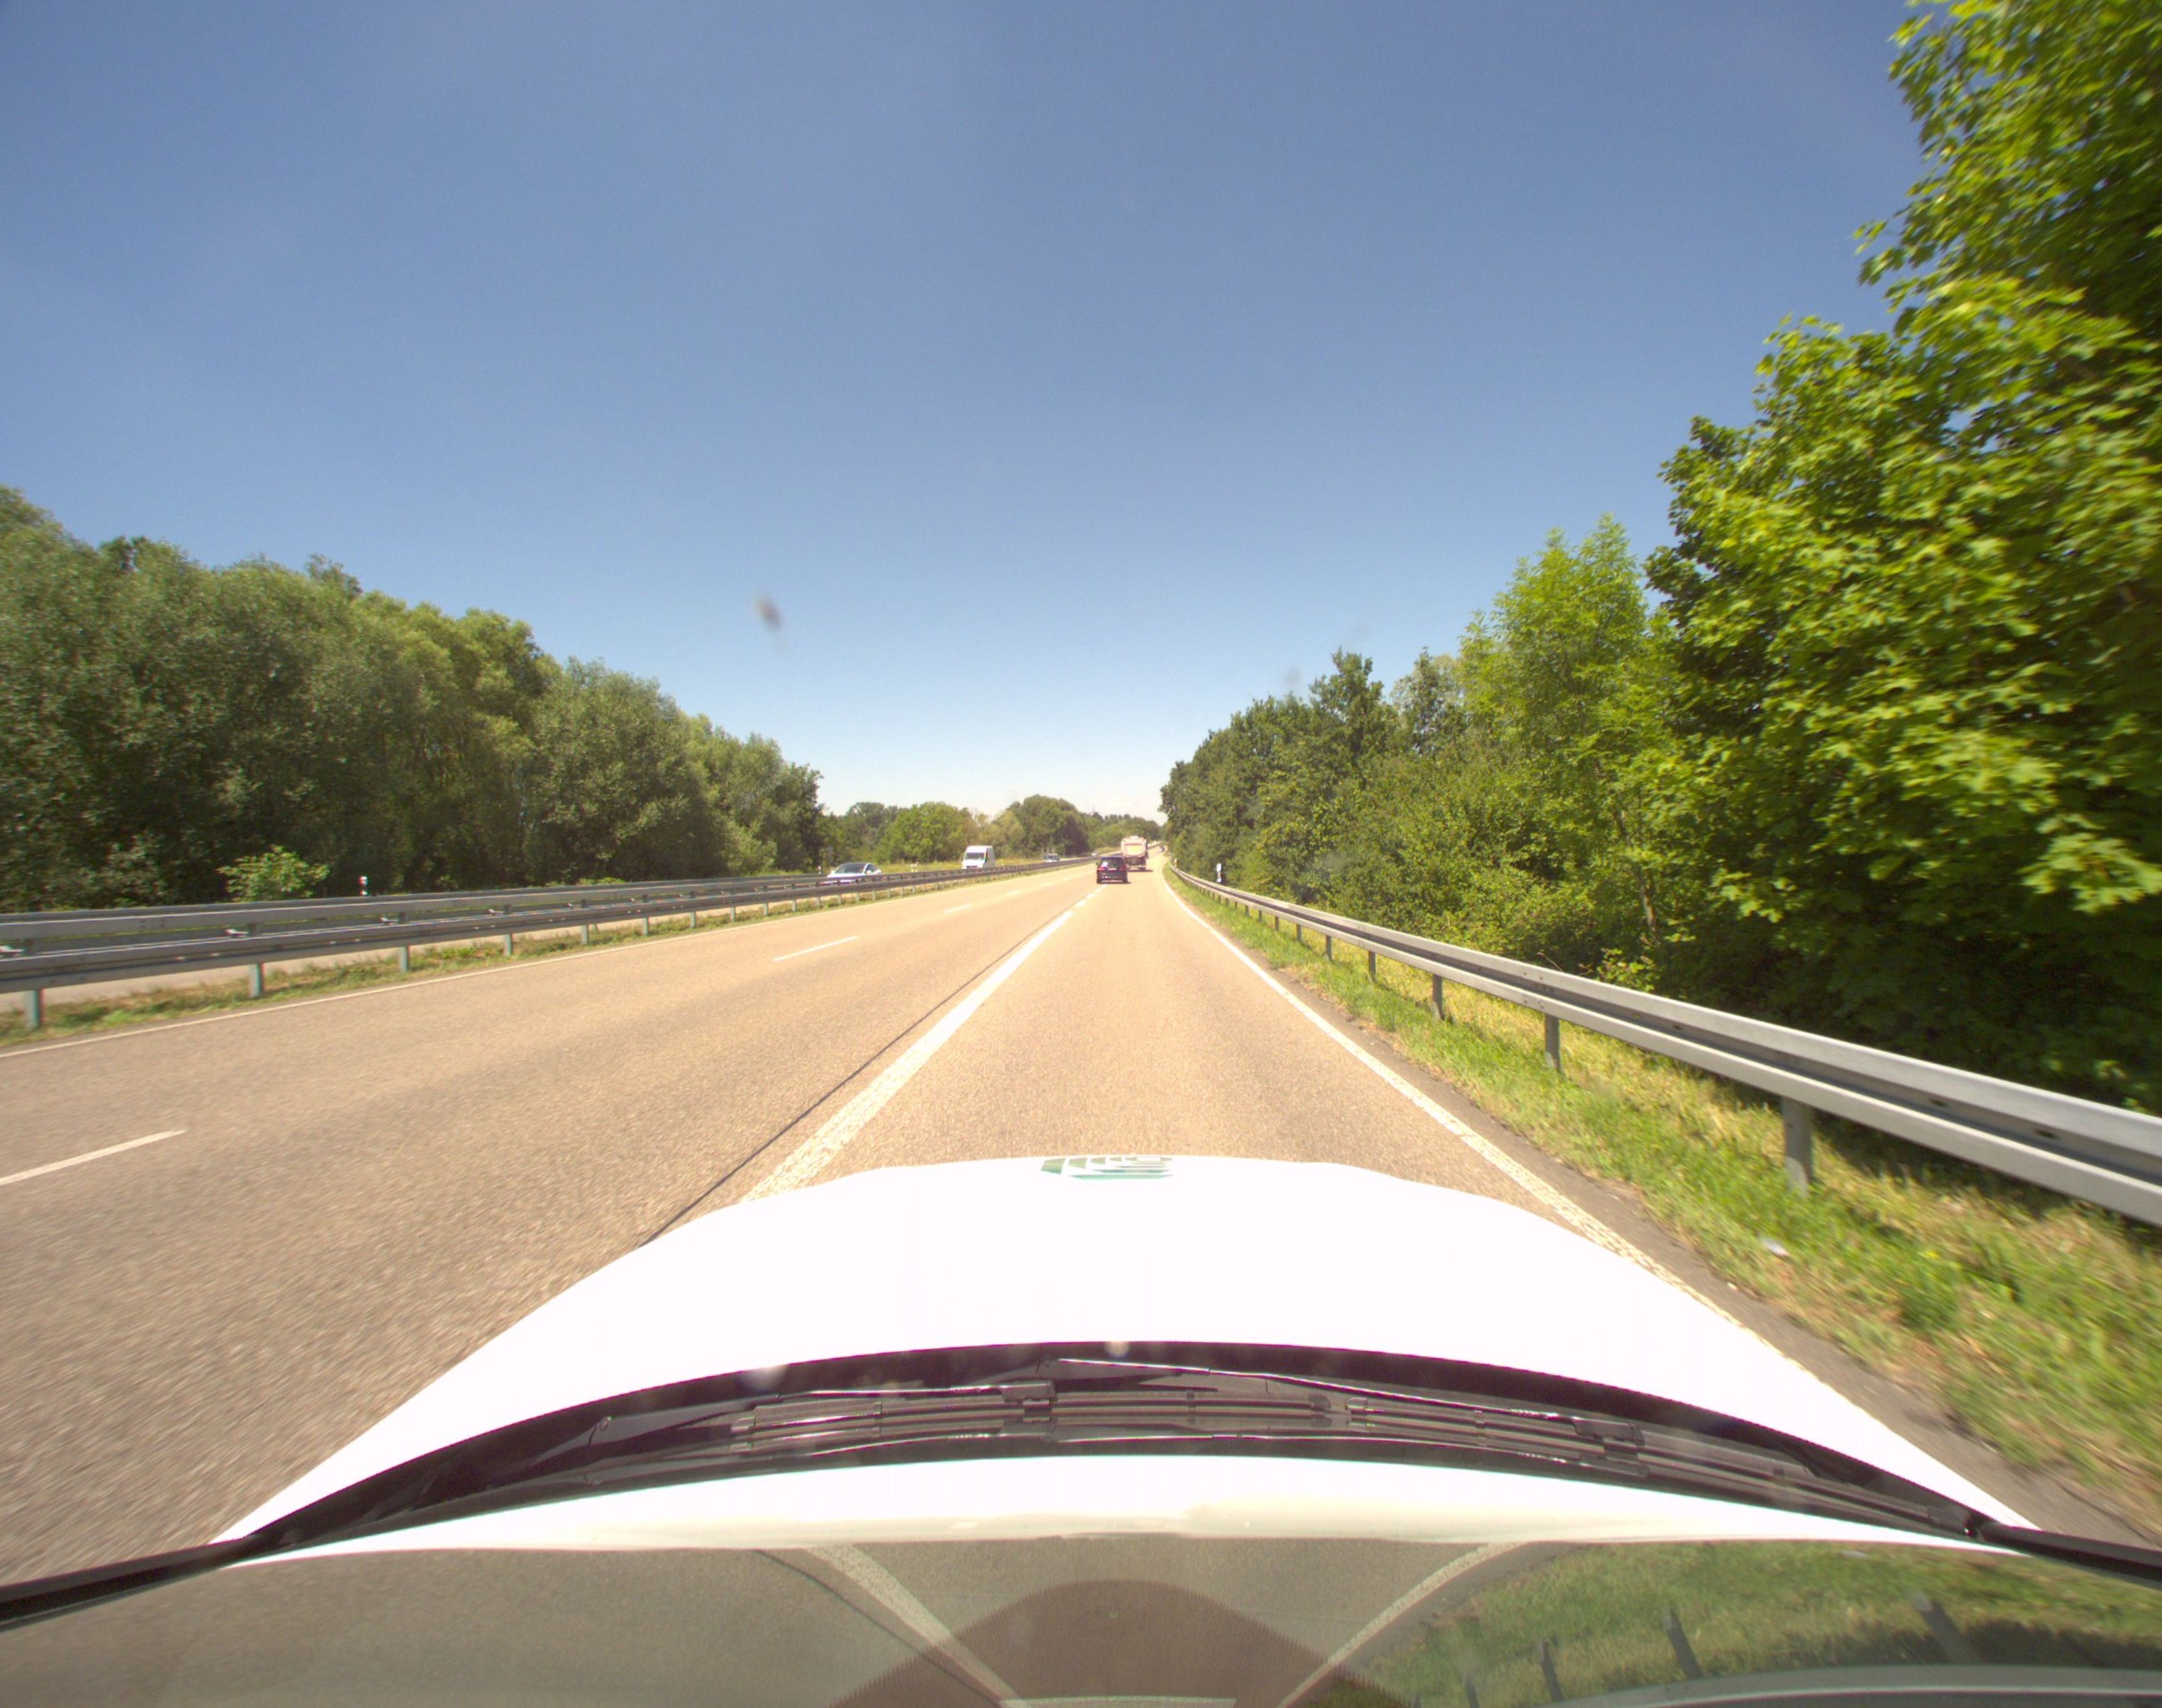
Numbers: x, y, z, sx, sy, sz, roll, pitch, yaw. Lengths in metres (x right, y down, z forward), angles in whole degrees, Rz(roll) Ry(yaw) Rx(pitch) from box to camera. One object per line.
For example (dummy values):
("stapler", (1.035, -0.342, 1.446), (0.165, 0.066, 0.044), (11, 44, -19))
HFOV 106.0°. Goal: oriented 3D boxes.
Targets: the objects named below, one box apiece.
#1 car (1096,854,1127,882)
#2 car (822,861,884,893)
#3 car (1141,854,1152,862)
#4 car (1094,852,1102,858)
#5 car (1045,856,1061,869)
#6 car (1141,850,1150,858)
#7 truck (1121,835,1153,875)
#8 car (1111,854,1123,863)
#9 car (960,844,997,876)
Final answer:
("car", (1.949, 0.883, 51.374), (1.849, 1.671, 4.004), (-1, 0, 4))
("car", (-11.477, 1.117, 41.196), (1.911, 1.489, 4.001), (0, 0, 1))
("car", (13.111, 0.798, 163.028), (1.848, 1.671, 4.007), (-1, 0, 7))
("car", (4.980, 0.185, 236.638), (1.715, 1.645, 4.952), (0, 0, 7))
("car", (-3.988, 1.213, 118.119), (1.855, 1.830, 4.665), (-1, 0, 4))
("car", (14.100, 0.058, 177.297), (1.848, 1.671, 4.007), (-1, 0, 7))
("truck", (6.134, 0.000, 87.752), (2.706, 3.929, 12.395), (-1, 1, 7))
("car", (6.802, 0.882, 154.426), (1.848, 1.671, 4.007), (-1, 0, 7))
("car", (-9.006, 0.521, 72.247), (2.094, 2.683, 6.632), (-1, 0, 3))
